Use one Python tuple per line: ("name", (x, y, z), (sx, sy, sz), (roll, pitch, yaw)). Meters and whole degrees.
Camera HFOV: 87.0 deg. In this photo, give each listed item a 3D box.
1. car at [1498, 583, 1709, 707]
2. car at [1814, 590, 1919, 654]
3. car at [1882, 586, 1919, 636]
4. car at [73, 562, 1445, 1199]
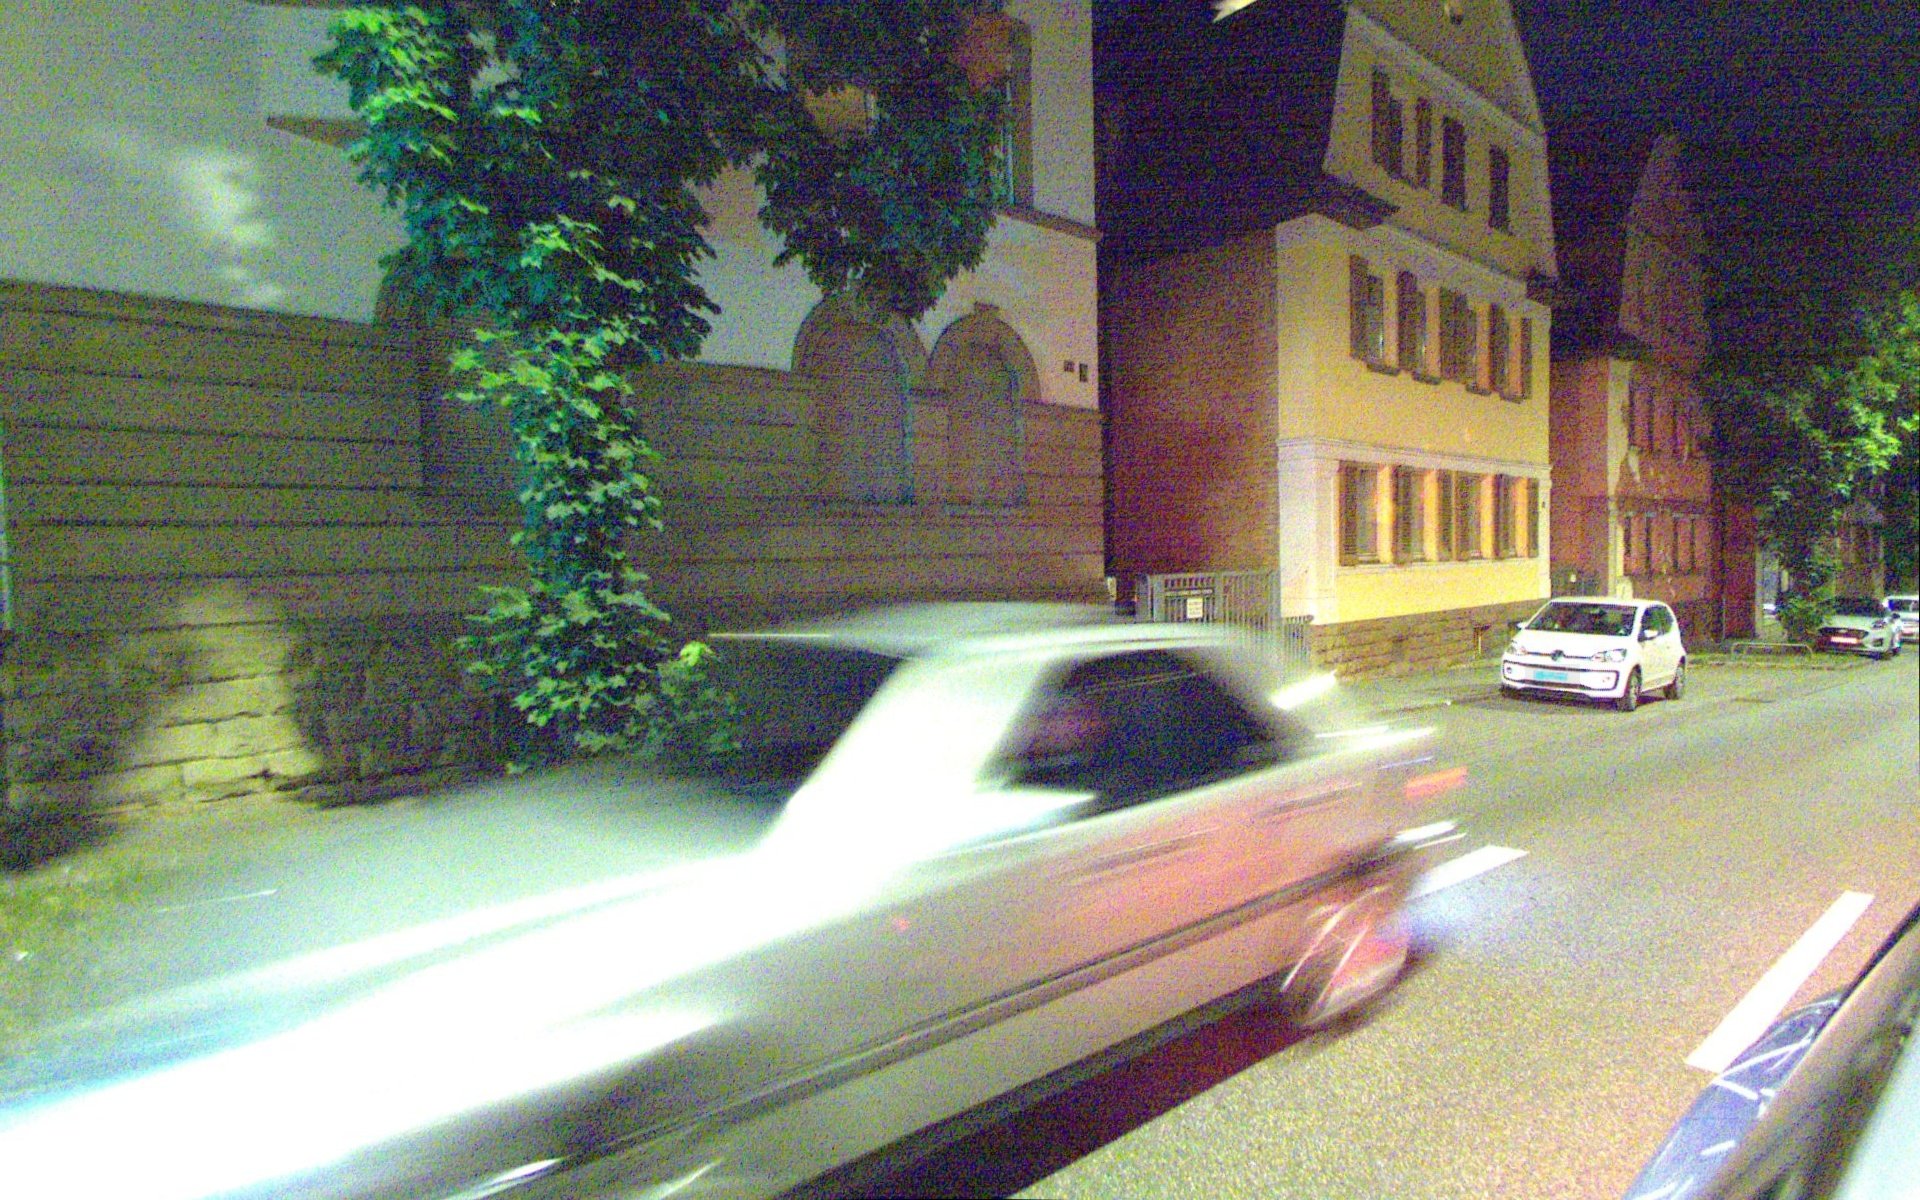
("car", (9.299, 0.558, 14.548), (3.425, 1.527, 1.610), (0, 2, -41))
("car", (23.614, 0.508, 26.271), (3.824, 1.516, 1.740), (0, 2, -43))
("car", (33.538, 0.368, 35.128), (4.107, 1.673, 1.850), (0, 0, -42))
("car", (-0.173, 0.684, 3.202), (3.933, 1.505, 1.778), (-1, 0, -43))
